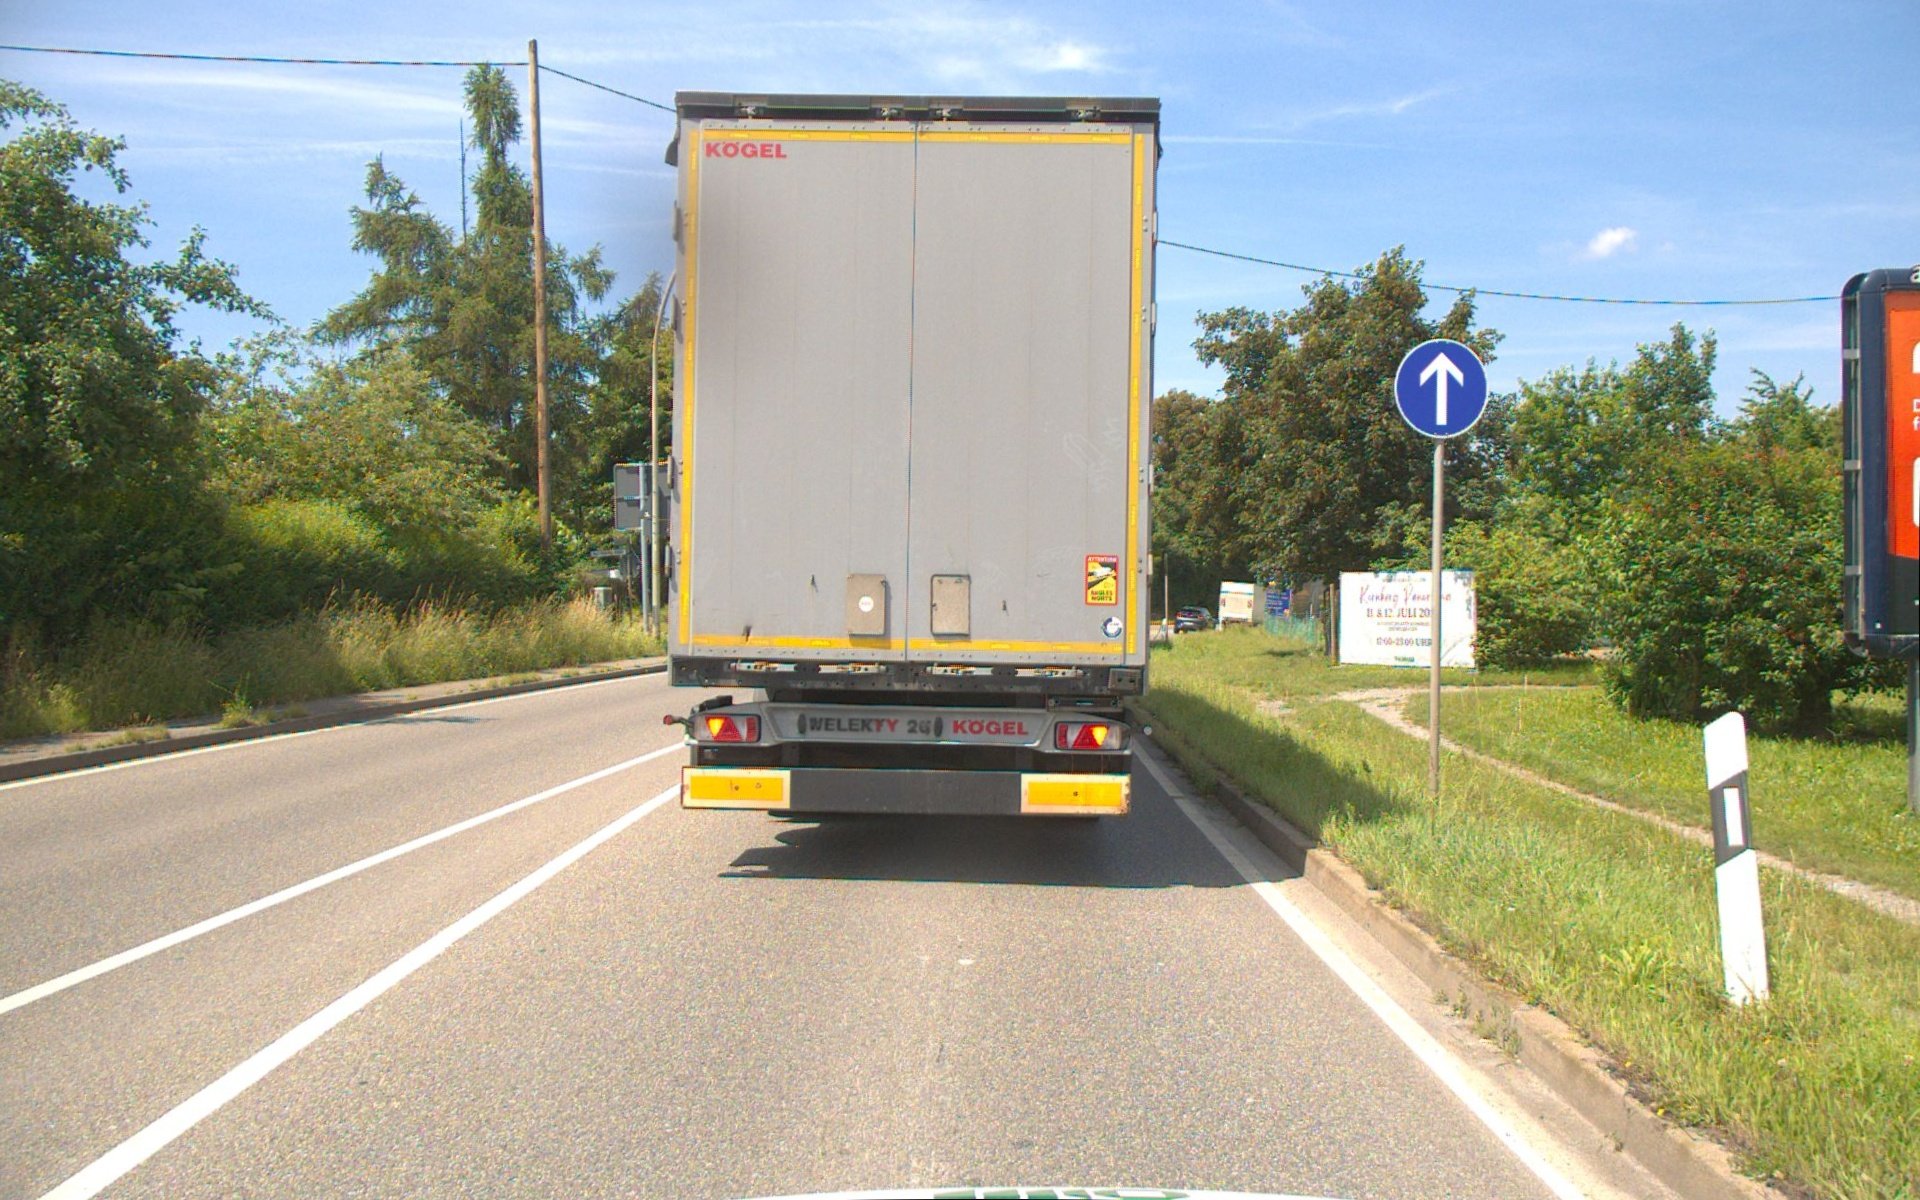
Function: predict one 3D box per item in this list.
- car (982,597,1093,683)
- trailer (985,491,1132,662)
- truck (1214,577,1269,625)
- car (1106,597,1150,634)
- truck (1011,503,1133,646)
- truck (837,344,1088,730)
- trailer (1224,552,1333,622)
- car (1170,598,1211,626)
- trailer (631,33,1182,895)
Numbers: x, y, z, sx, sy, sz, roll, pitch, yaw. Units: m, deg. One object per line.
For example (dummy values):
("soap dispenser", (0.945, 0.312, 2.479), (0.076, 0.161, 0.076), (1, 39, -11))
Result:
("car", (1.613, 0.739, 33.034), (1.951, 1.556, 4.003), (1, 1, 6))
("trailer", (3.295, -0.726, 50.943), (3.808, 4.599, 12.723), (0, 1, 6))
("truck", (17.625, 0.020, 103.297), (2.370, 2.888, 5.413), (1, 1, 20))
("car", (8.909, 0.805, 87.434), (1.951, 1.870, 4.004), (1, 1, 10))
("truck", (4.041, -0.837, 57.636), (3.853, 4.655, 7.157), (0, 0, 7))
("truck", (0.259, -0.747, 21.341), (2.688, 4.238, 6.147), (1, 1, 5))
("trailer", (23.125, -0.956, 118.953), (5.072, 4.709, 15.898), (1, 1, 20))
("car", (12.827, 0.645, 91.869), (1.802, 1.512, 4.003), (0, 1, 15))
("trailer", (-0.078, -0.751, 14.304), (2.729, 4.278, 12.114), (0, 1, 2))
